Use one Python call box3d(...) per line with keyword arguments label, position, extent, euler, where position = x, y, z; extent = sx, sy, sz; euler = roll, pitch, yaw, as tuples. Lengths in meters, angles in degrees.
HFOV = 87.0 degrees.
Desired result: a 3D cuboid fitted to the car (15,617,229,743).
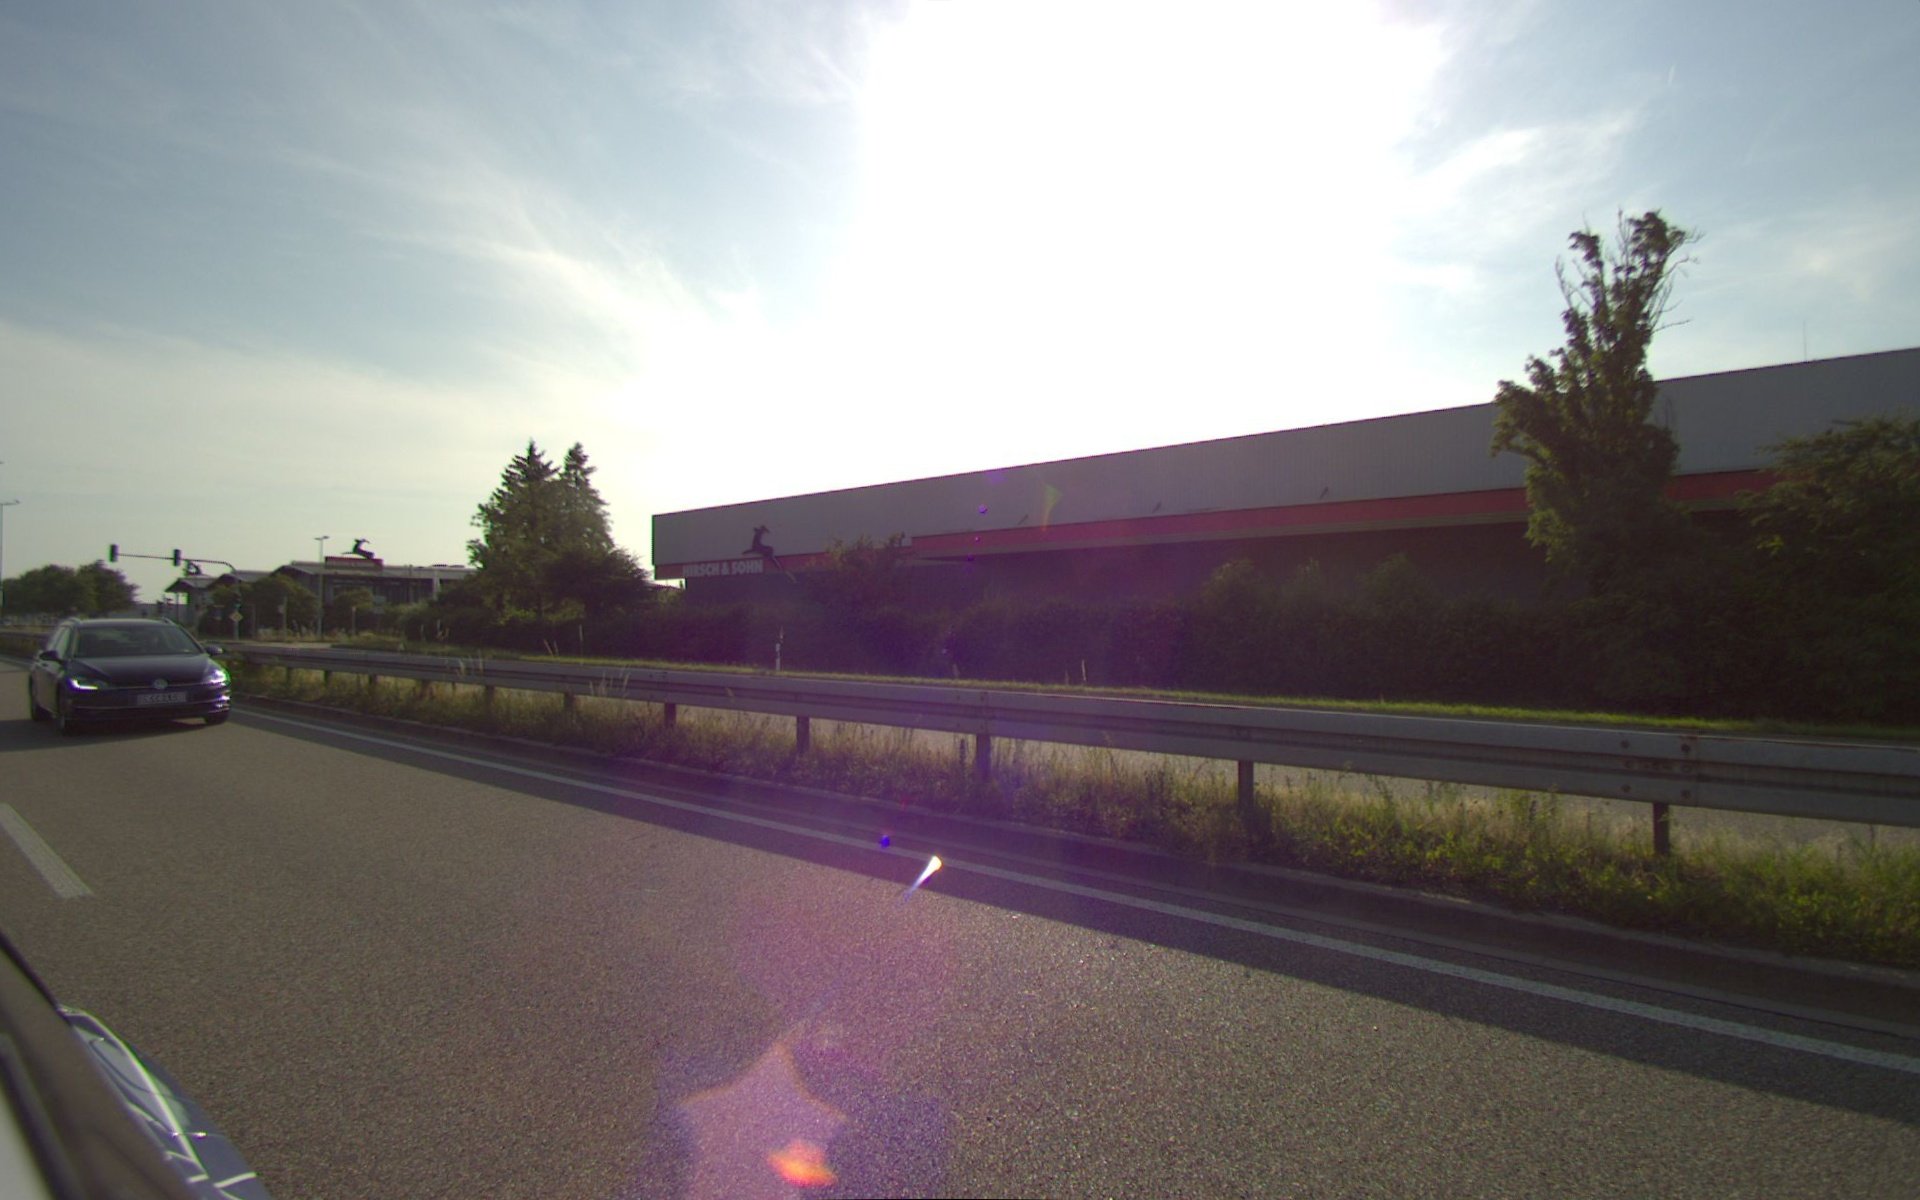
box3d(label="car", position=(-11.883, 1.012, 14.229), extent=(4.774, 1.482, 1.629), euler=(-2, -1, 42))
